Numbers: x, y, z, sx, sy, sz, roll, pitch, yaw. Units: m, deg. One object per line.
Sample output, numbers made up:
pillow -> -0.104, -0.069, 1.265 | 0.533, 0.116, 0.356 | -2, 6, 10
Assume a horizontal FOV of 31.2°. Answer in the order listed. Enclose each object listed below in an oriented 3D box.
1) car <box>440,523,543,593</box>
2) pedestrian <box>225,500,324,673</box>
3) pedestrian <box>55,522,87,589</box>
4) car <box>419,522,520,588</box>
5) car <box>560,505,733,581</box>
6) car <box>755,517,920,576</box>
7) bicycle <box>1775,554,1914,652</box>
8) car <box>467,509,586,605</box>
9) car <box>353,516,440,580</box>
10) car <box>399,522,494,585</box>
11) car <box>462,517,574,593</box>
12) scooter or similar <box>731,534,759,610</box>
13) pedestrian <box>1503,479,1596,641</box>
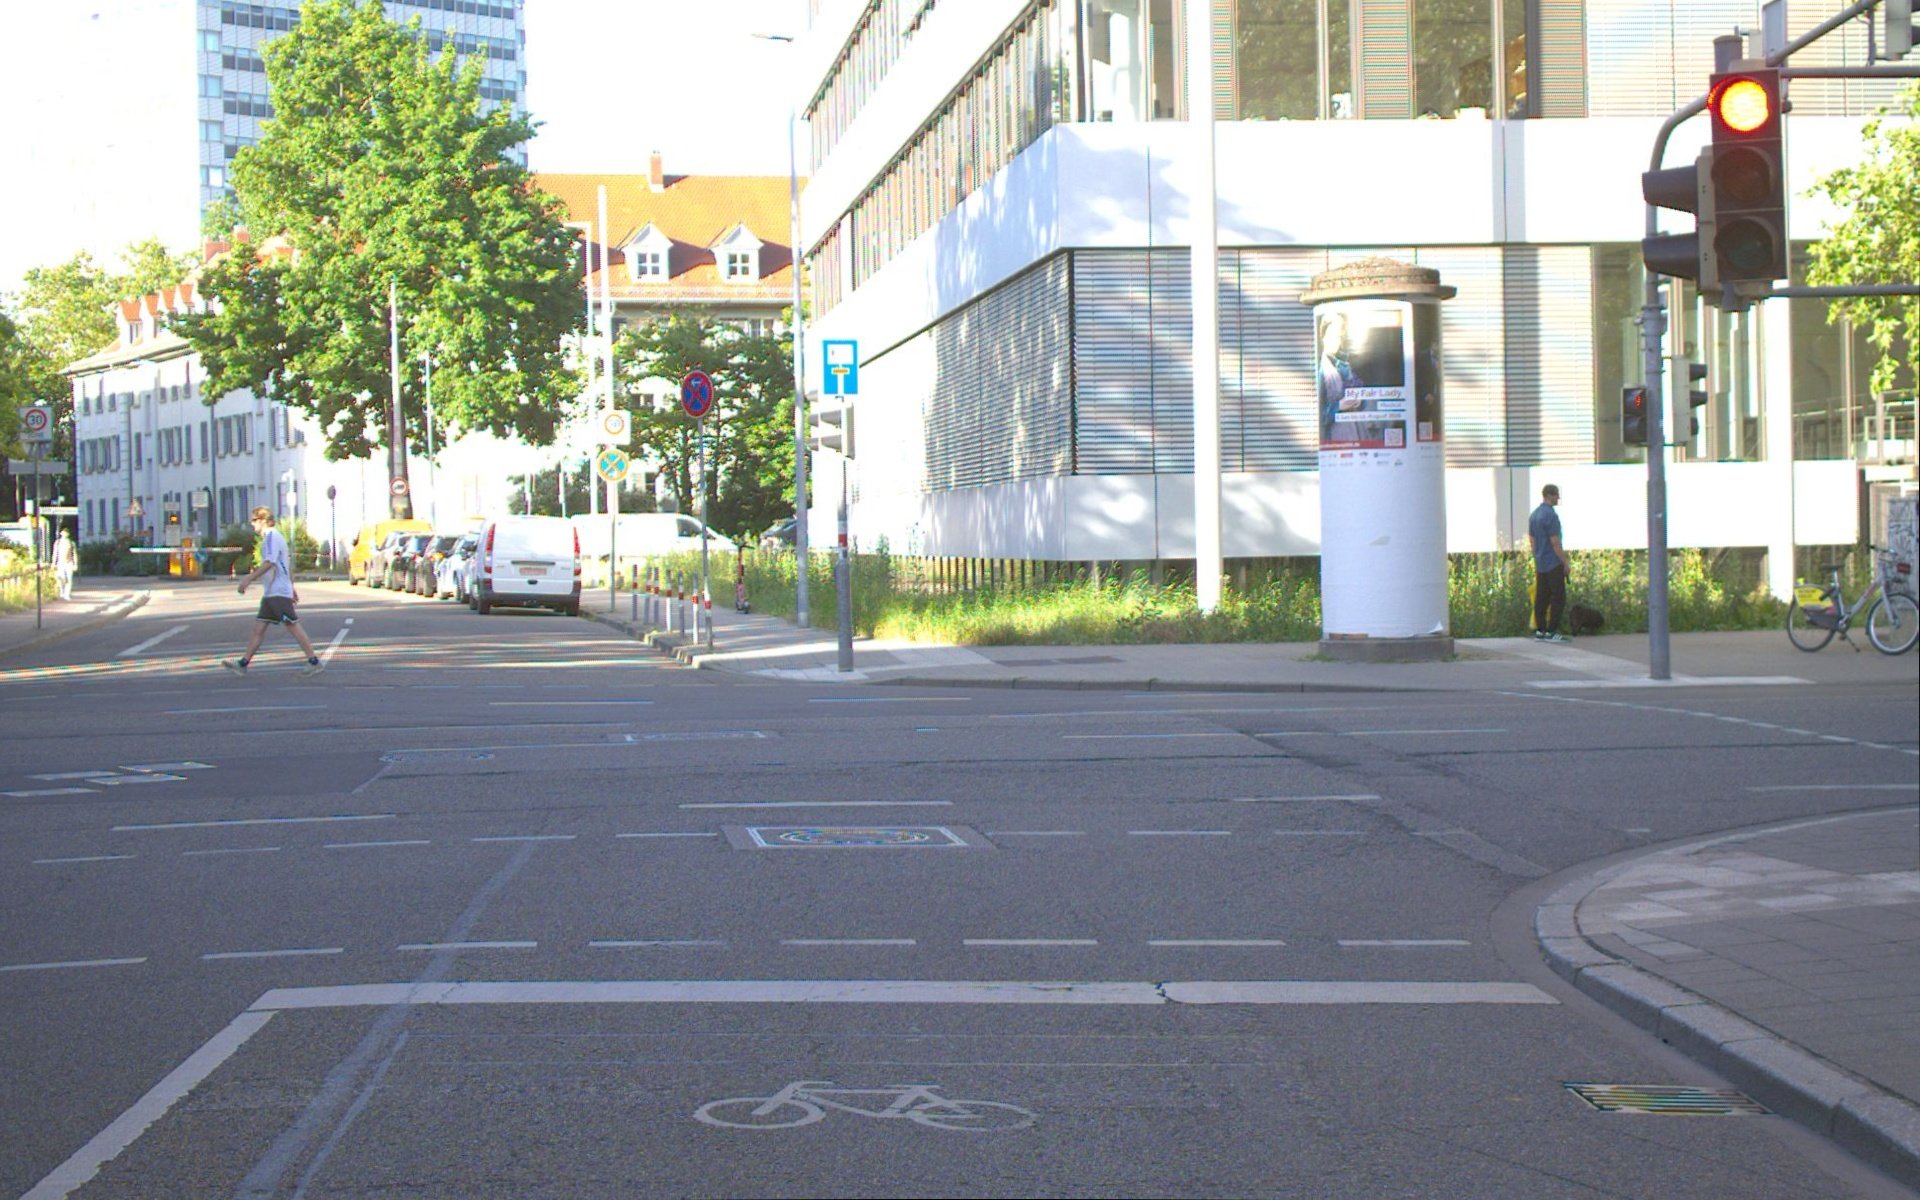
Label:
car -> -10.497, -0.930, 76.799 | 1.993, 1.493, 4.653 | 1, 1, -11
pedestrian -> -7.531, -0.150, 37.791 | 0.914, 1.862, 0.742 | 1, 0, 1
pedestrian -> -21.329, -1.065, 82.471 | 0.699, 1.581, 0.637 | 1, 0, -16
car -> -11.618, -1.056, 81.246 | 1.993, 1.493, 4.288 | 1, 1, -13
car -> -9.392, -1.696, 102.922 | 4.791, 2.151, 2.001 | 1, 0, -17
car -> -3.744, -1.622, 104.765 | 4.635, 1.719, 2.001 | 1, 0, -16
bicycle -> 9.288, 0.028, 36.137 | 0.378, 1.005, 1.432 | -2, 2, -42
car -> -8.213, -0.812, 64.813 | 1.993, 1.719, 4.653 | 1, 1, -10
car -> -15.729, -1.447, 95.826 | 1.993, 1.719, 4.653 | 1, 1, -14
car -> -12.871, -1.159, 85.970 | 1.993, 1.493, 4.653 | 1, 1, -13
car -> -9.164, -0.929, 71.027 | 1.993, 1.493, 4.653 | 1, 1, -11
scooter or similar -> -3.653, -0.485, 58.282 | 0.437, 1.252, 1.420 | -1, 1, -4
pedestrian -> 6.679, -0.451, 38.965 | 0.914, 1.809, 0.762 | 1, 0, 2
